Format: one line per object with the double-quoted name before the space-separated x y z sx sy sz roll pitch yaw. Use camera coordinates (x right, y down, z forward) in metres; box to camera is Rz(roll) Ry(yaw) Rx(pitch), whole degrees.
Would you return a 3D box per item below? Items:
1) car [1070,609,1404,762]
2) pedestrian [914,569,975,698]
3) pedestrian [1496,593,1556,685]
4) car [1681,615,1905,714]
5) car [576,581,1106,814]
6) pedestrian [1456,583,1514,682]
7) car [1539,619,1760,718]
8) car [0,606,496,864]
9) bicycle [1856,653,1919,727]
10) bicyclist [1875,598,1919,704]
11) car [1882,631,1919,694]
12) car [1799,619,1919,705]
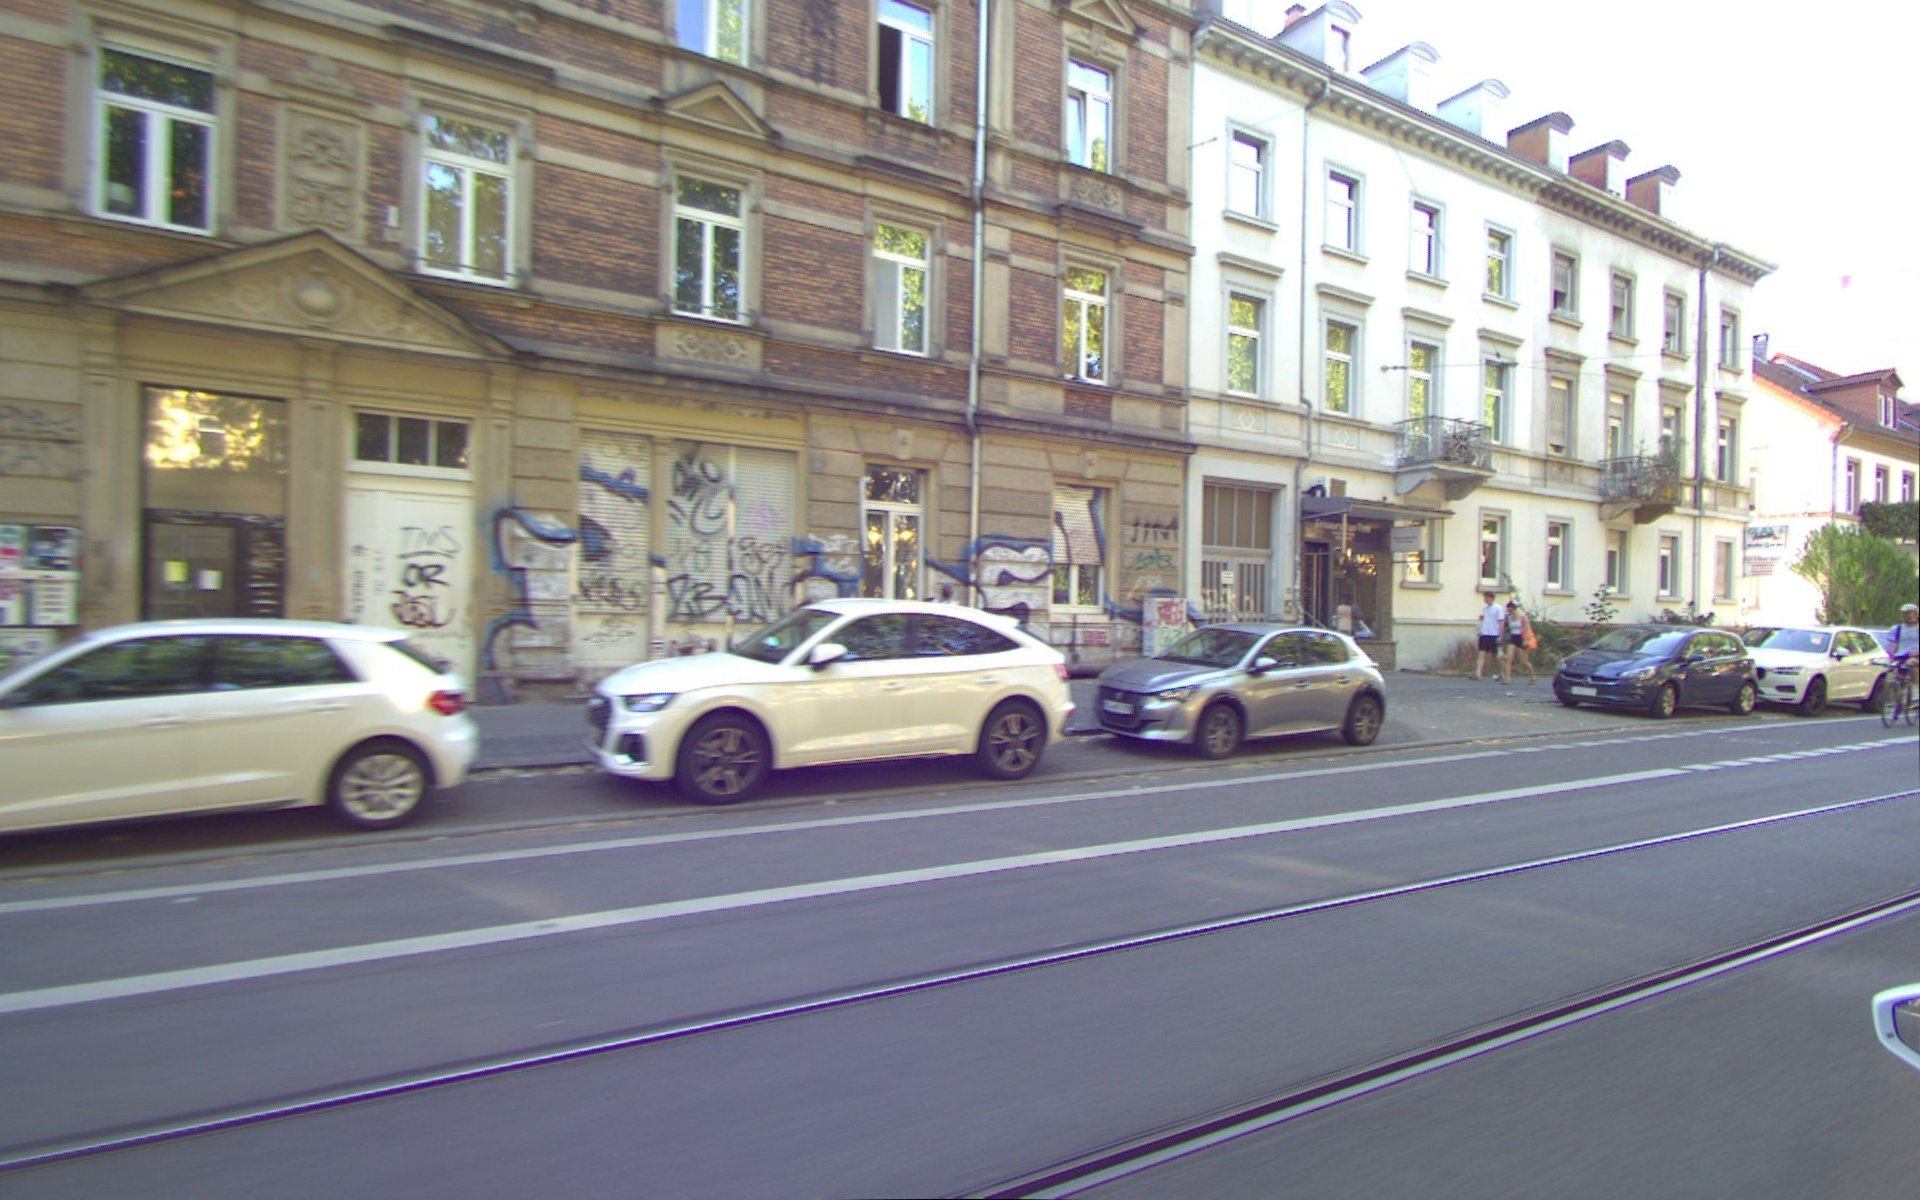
"car" 3.441 0.948 12.260 4.020 1.541 1.653 2 1 -33
"pedestrian" -0.205 0.448 13.668 0.753 1.687 0.664 2 1 2
"pedestrian" 11.597 0.788 20.583 0.821 1.845 0.755 1 0 -33
"car" 16.353 1.199 19.677 4.705 1.726 1.848 1 -1 -30
"car" -1.020 0.781 9.534 4.663 1.746 1.778 2 1 -31
"pedestrian" 11.165 0.682 21.366 0.821 2.040 0.755 1 0 -32
"car" 11.926 1.122 17.334 3.875 1.535 1.548 1 -1 -28
"car" -5.485 0.803 6.871 3.959 1.439 1.688 2 1 -35
"bicycle" 15.017 1.410 16.054 1.824 1.100 0.479 1 -1 -30
"bicyclist" 15.170 0.807 16.132 0.790 1.657 0.471 1 -1 -30
"car" 25.218 1.571 25.369 4.208 1.496 1.678 1 1 -31
"car" 20.731 1.328 22.540 4.613 1.726 1.844 1 -1 -36
